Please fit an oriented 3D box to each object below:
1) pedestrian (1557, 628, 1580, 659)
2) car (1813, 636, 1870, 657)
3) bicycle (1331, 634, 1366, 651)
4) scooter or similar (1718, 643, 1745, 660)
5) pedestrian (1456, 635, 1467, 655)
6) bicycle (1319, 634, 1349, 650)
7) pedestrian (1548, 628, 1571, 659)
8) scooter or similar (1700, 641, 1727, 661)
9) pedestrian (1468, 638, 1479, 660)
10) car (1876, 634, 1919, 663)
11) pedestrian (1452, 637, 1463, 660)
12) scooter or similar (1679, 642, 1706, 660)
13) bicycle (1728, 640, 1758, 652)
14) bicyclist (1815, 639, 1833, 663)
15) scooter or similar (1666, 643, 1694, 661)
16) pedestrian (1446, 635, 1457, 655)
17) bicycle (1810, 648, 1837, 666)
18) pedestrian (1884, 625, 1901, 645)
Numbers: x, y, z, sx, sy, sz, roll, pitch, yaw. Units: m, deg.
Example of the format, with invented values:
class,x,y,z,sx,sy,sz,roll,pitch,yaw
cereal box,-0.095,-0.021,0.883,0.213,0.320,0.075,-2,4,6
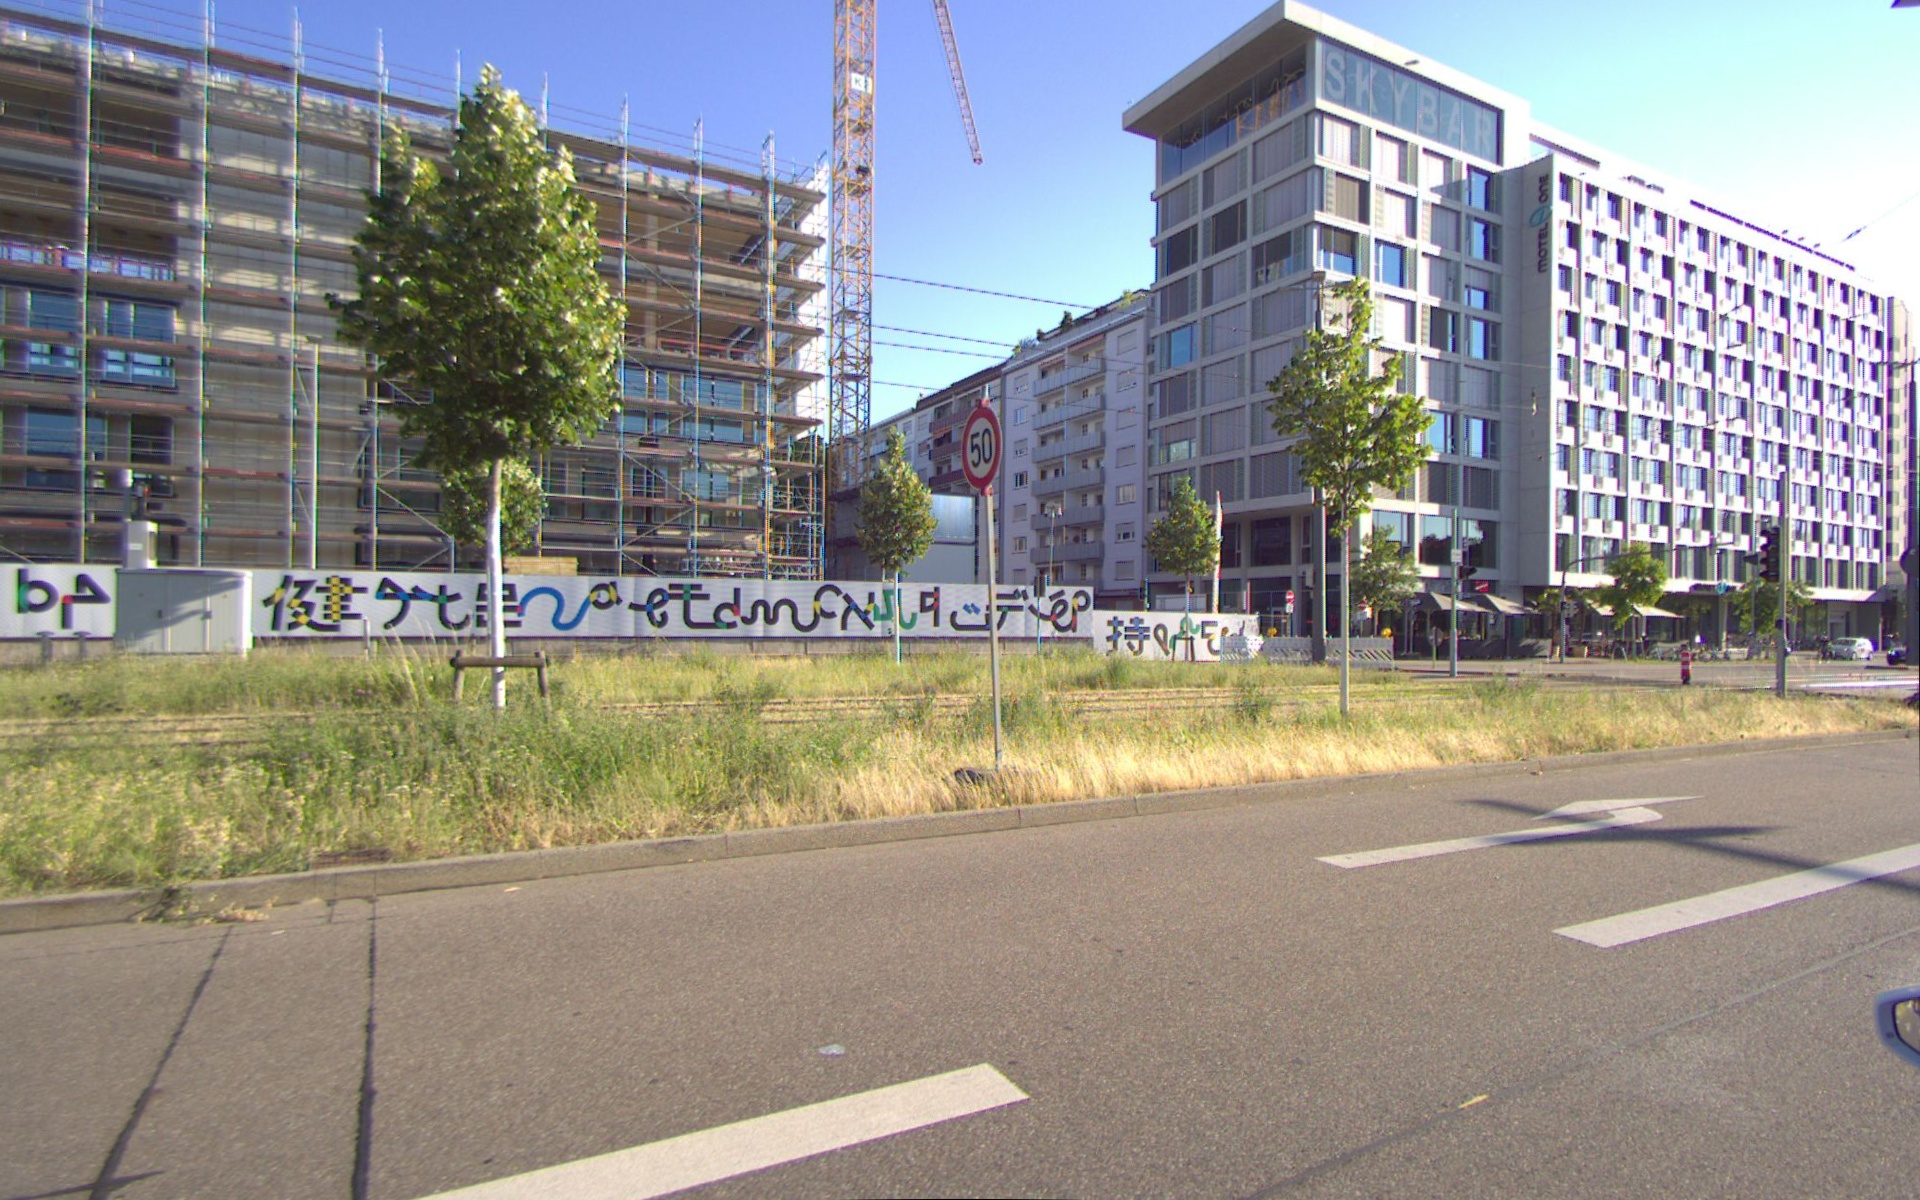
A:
class,x,y,z,sx,sy,sz,roll,pitch,yaw
pedestrian,35.903,2.564,59.291,0.791,1.744,0.868,1,-1,-19
car,60.619,3.197,69.066,3.951,1.346,1.749,1,0,-29
bicycle,21.945,2.416,56.675,2.190,0.948,0.615,1,-1,-30
scooter or similar,47.444,3.147,61.765,0.429,1.033,1.239,1,-1,-27
pedestrian,30.722,2.766,61.543,0.491,1.238,0.430,1,-1,-28
bicycle,21.398,2.402,57.448,1.878,0.948,0.533,1,-1,-30
pedestrian,35.183,2.546,58.975,0.791,1.744,0.868,1,-1,-19
scooter or similar,45.336,3.063,60.428,0.401,1.187,1.239,1,-1,-27
pedestrian,28.372,2.699,55.463,0.428,1.209,0.362,1,-1,-32
car,47.440,2.372,49.633,4.792,1.361,1.882,1,-1,-30
pedestrian,27.441,2.675,55.359,0.428,1.209,0.362,1,-1,-32
scooter or similar,43.496,3.048,59.632,0.429,1.033,1.239,1,-1,-27
bicycle,60.705,3.544,77.879,0.507,0.917,1.793,1,-1,-34
bicyclist,53.870,3.166,62.639,0.840,1.484,0.622,1,-1,-28
scooter or similar,42.194,3.055,58.869,0.504,1.033,1.239,1,-1,-27
pedestrian,29.932,2.746,61.150,0.491,1.238,0.430,1,-1,-28
bicycle,53.846,3.575,62.631,2.052,1.081,0.622,1,-1,-29
pedestrian,79.539,2.985,85.690,0.957,1.675,0.840,1,-1,-27
